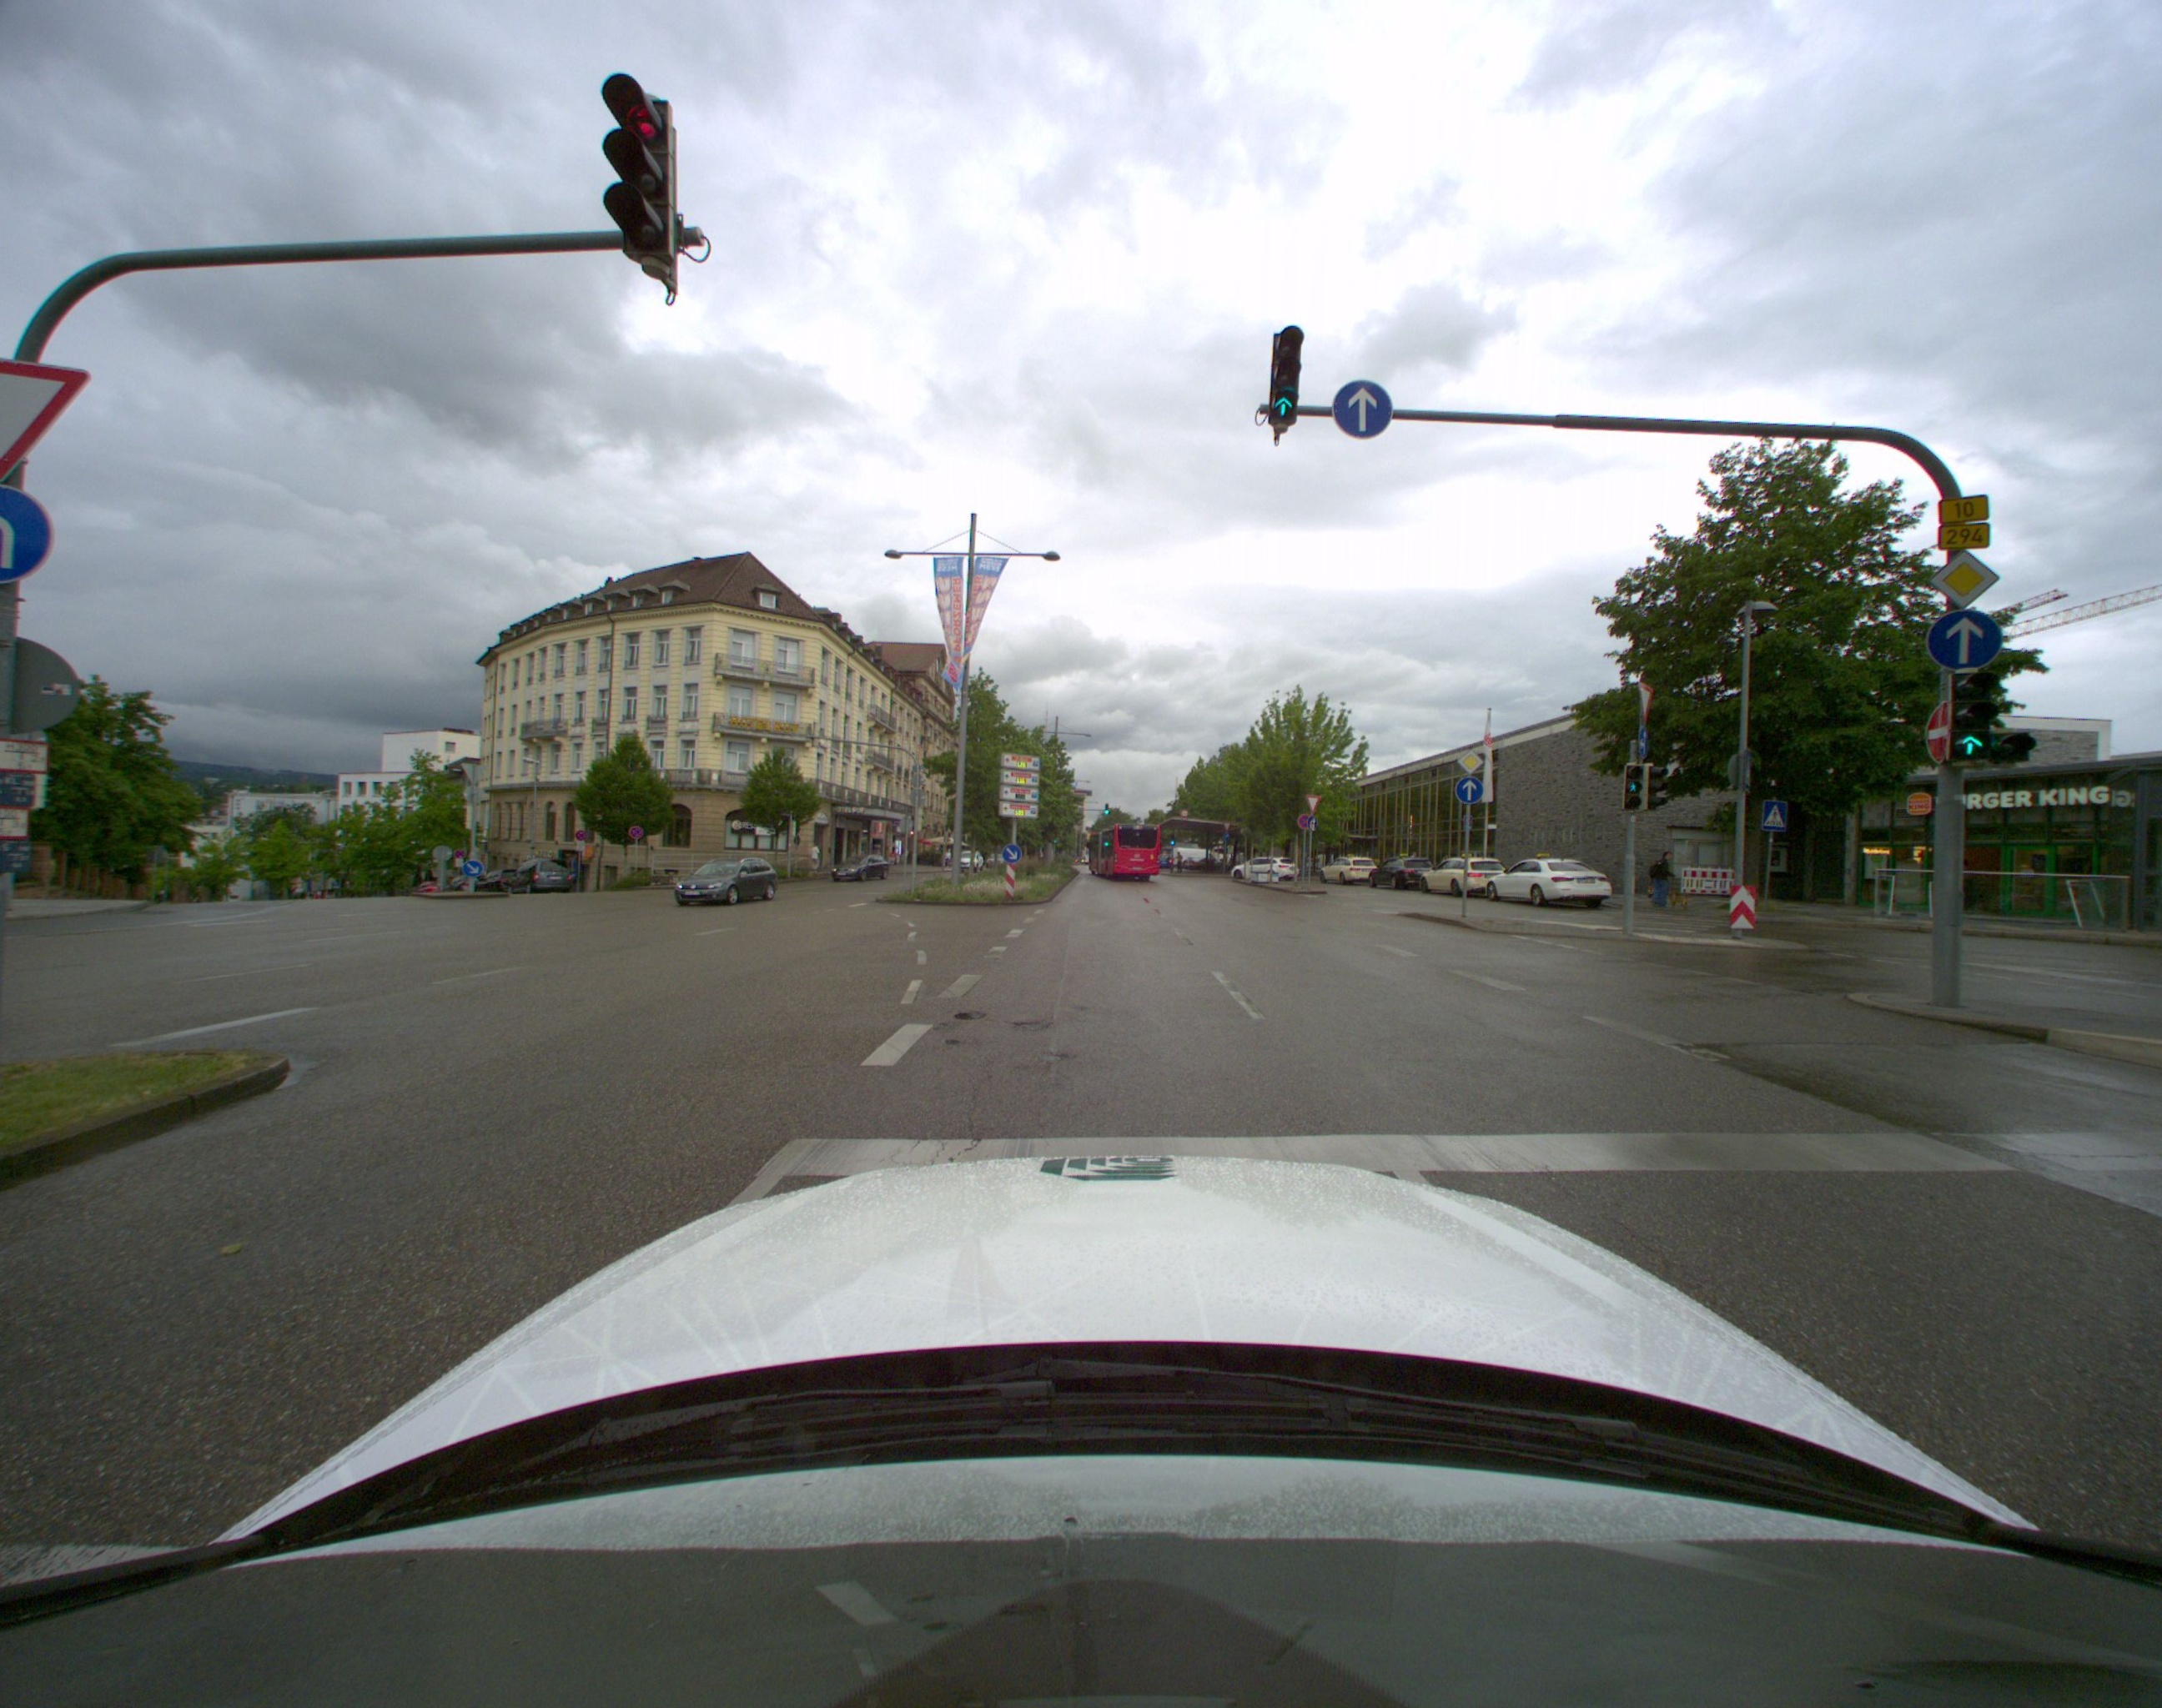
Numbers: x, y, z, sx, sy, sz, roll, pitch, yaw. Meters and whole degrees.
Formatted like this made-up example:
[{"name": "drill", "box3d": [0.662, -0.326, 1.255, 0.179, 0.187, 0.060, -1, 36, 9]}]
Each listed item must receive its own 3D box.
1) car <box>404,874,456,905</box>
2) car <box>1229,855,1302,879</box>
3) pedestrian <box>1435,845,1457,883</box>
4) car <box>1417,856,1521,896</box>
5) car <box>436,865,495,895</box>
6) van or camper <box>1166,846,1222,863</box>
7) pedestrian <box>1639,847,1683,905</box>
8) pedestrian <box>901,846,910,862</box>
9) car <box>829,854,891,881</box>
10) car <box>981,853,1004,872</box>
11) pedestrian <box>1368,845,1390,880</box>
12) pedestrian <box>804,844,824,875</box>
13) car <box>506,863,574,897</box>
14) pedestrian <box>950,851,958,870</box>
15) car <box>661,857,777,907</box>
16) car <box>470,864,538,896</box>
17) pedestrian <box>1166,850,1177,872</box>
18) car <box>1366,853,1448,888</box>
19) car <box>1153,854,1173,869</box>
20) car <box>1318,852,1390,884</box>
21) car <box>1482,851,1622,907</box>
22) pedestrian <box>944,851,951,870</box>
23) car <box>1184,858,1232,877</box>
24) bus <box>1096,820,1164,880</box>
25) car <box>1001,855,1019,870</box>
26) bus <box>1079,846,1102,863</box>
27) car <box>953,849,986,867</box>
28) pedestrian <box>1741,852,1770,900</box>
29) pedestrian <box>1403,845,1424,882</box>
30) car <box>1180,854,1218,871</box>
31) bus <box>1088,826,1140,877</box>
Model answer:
[{"name": "car", "box3d": [-41.188, 2.206, 51.491, 3.575, 1.812, 1.788, 0, 0, 38]}, {"name": "car", "box3d": [11.485, 0.786, 50.942, 1.788, 1.385, 4.318, 0, 0, -39]}, {"name": "pedestrian", "box3d": [19.525, 0.528, 43.559, 0.808, 2.014, 0.921, 0, 0, 1]}, {"name": "car", "box3d": [14.785, 0.788, 31.373, 1.840, 1.452, 4.666, 0, 0, 0]}, {"name": "car", "box3d": [-36.313, 1.489, 48.031, 3.864, 1.640, 1.805, 0, 0, 37]}, {"name": "van or camper", "box3d": [14.232, 0.082, 102.695, 6.787, 2.014, 2.366, 0, -1, -25]}, {"name": "pedestrian", "box3d": [16.947, 0.640, 23.812, 0.805, 1.674, 0.713, 0, 0, 1]}, {"name": "pedestrian", "box3d": [-16.221, 0.008, 75.201, 0.666, 1.510, 0.513, 0, -1, -36]}, {"name": "car", "box3d": [-12.313, 0.721, 45.565, 1.744, 1.369, 4.071, 0, 1, 10]}, {"name": "car", "box3d": [-8.589, 0.834, 79.552, 1.989, 1.758, 3.995, 0, 0, -3]}, {"name": "pedestrian", "box3d": [17.317, 0.477, 47.278, 0.814, 2.014, 0.914, 1, 0, -22]}, {"name": "pedestrian", "box3d": [-16.549, 0.338, 50.572, 0.860, 1.878, 1.023, 0, 0, 1]}, {"name": "car", "box3d": [-27.102, 1.269, 40.769, 3.949, 1.568, 1.812, 0, 0, 41]}, {"name": "pedestrian", "box3d": [-11.880, 0.614, 76.159, 0.672, 1.701, 0.634, 0, 0, 1]}, {"name": "car", "box3d": [-11.763, 0.870, 26.793, 1.747, 1.440, 4.065, 0, 1, 4]}, {"name": "car", "box3d": [-31.970, 1.413, 45.109, 3.948, 1.640, 2.013, -1, -1, 37]}, {"name": "pedestrian", "box3d": [7.434, 0.597, 66.656, 0.717, 1.791, 0.663, 0, 0, -10]}, {"name": "car", "box3d": [14.952, 0.712, 37.600, 1.907, 1.524, 4.741, 0, 0, 0]}, {"name": "car", "box3d": [8.559, 0.756, 85.374, 1.809, 1.530, 4.001, 0, 0, 2]}, {"name": "car", "box3d": [14.681, 0.714, 44.093, 1.990, 1.600, 4.814, 0, 0, -5]}, {"name": "car", "box3d": [14.645, 0.722, 25.654, 1.768, 1.589, 4.615, 0, 0, 0]}, {"name": "pedestrian", "box3d": [-12.472, 0.600, 76.159, 0.573, 1.732, 0.609, 0, 0, 1]}, {"name": "car", "box3d": [12.821, 1.385, 82.136, 4.348, 1.857, 1.988, 0, 0, -18]}, {"name": "bus", "box3d": [2.704, -0.219, 47.509, 2.739, 3.174, 8.105, 0, 0, -5]}, {"name": "car", "box3d": [-8.387, 1.007, 96.263, 1.989, 1.791, 3.996, 0, 0, -3]}, {"name": "bus", "box3d": [1.750, 0.135, 156.776, 3.750, 3.209, 15.514, 0, 0, -2]}, {"name": "car", "box3d": [-8.721, 0.315, 64.078, 1.747, 1.369, 4.065, 0, 1, 4]}, {"name": "pedestrian", "box3d": [23.271, 0.757, 28.096, 0.558, 1.633, 0.566, 0, 0, 0]}, {"name": "pedestrian", "box3d": [18.685, 0.530, 45.745, 0.808, 2.014, 0.922, 0, 0, 2]}, {"name": "car", "box3d": [14.025, 0.975, 96.497, 3.998, 2.014, 1.988, 0, 0, -18]}, {"name": "bus", "box3d": [2.103, -0.143, 55.638, 2.736, 3.174, 10.185, 0, 0, -2]}]
